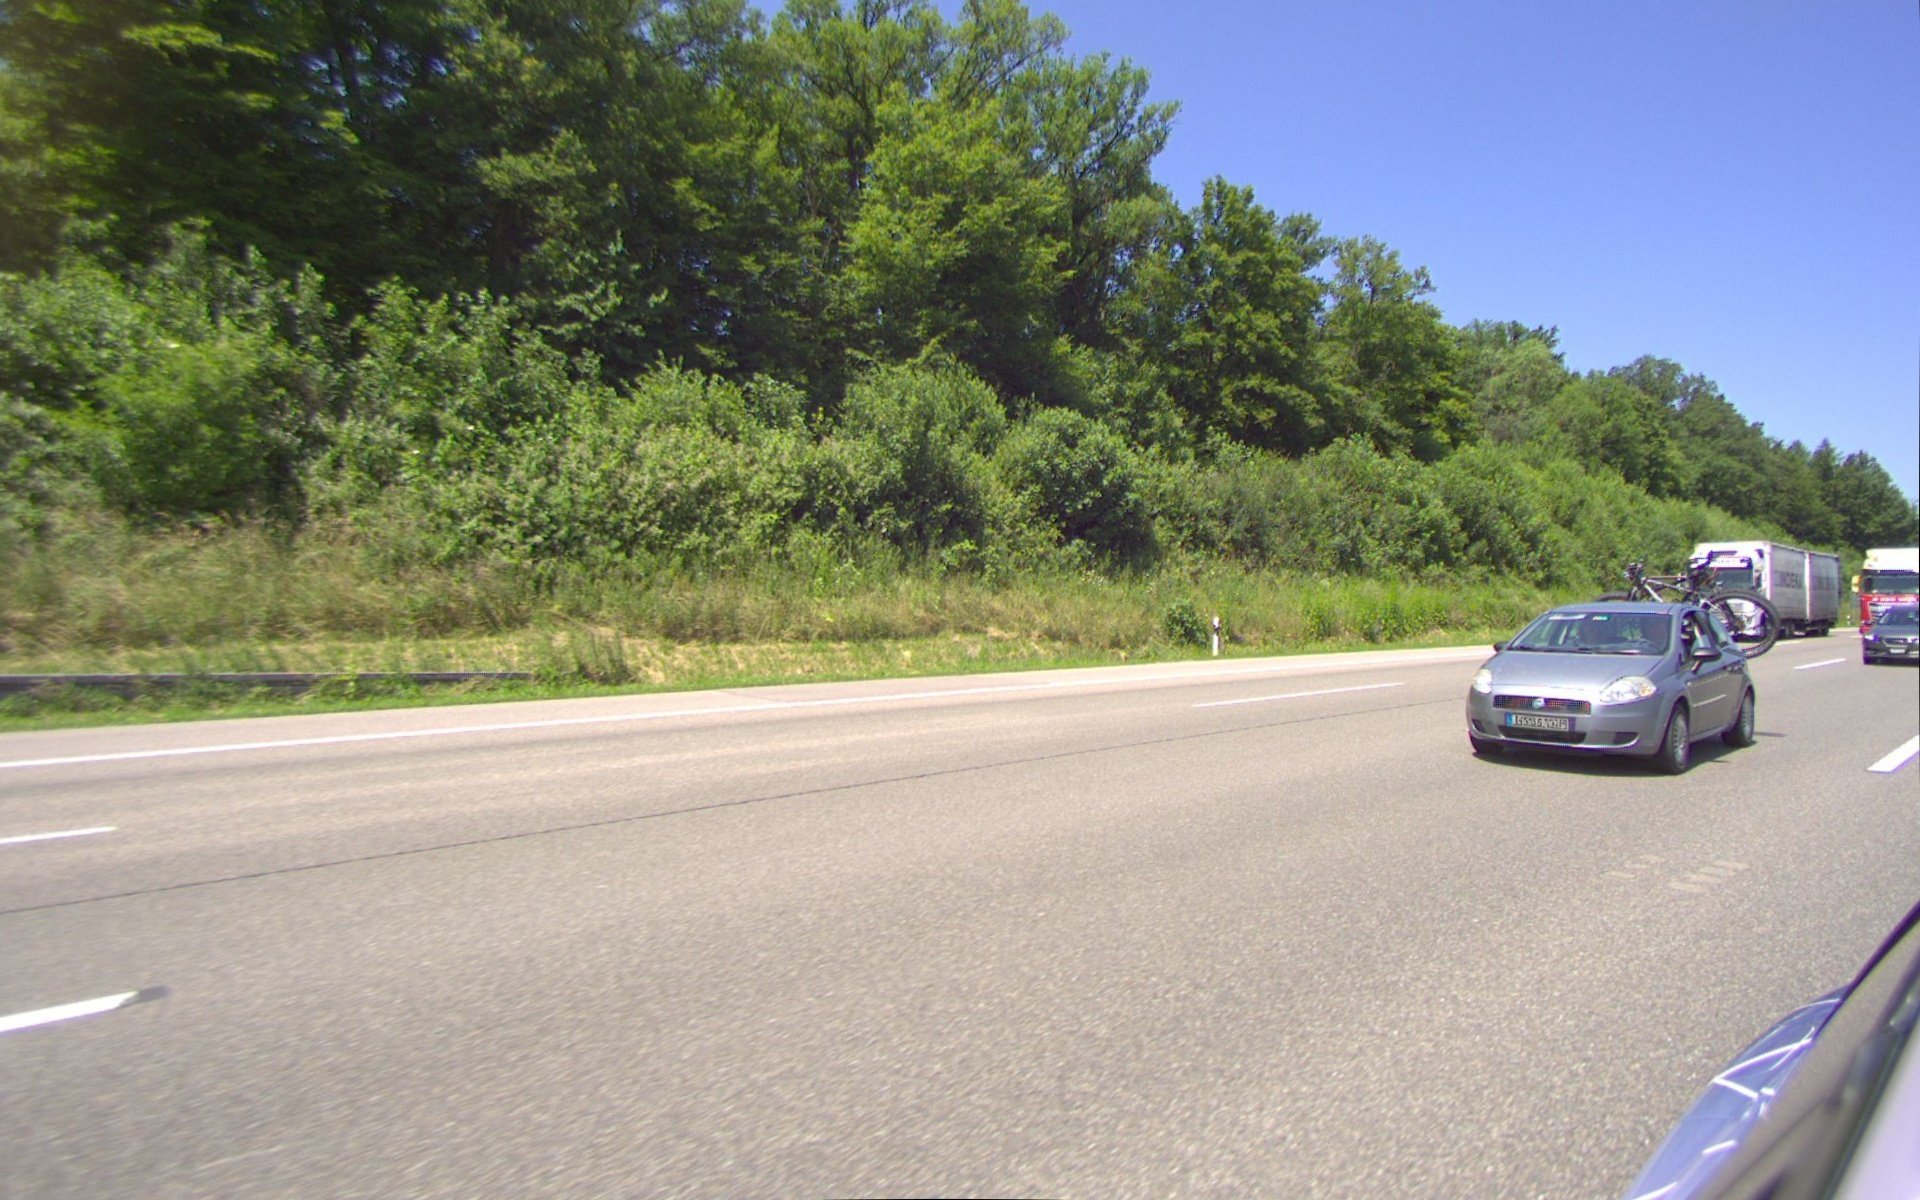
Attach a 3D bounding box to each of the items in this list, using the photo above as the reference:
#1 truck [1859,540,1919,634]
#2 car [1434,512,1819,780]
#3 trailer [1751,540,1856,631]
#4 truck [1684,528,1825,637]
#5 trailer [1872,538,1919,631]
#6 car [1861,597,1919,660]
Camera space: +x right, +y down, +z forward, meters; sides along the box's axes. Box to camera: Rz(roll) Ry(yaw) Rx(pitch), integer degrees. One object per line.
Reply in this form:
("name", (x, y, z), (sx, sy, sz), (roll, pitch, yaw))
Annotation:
("truck", (43.360, -0.512, 45.839), (7.406, 4.032, 3.016), (1, -1, -41))
("car", (6.814, 0.359, 10.130), (4.699, 2.080, 1.965), (0, -1, -40))
("trailer", (41.561, -0.626, 49.778), (8.234, 4.122, 2.583), (1, -1, -40))
("truck", (34.605, -0.650, 43.877), (10.775, 4.214, 2.727), (0, -1, -41))
("trailer", (48.318, -0.600, 50.030), (14.585, 4.195, 2.925), (1, 0, -41))
("car", (24.428, 0.674, 25.323), (5.129, 1.471, 1.971), (0, -1, -39))
